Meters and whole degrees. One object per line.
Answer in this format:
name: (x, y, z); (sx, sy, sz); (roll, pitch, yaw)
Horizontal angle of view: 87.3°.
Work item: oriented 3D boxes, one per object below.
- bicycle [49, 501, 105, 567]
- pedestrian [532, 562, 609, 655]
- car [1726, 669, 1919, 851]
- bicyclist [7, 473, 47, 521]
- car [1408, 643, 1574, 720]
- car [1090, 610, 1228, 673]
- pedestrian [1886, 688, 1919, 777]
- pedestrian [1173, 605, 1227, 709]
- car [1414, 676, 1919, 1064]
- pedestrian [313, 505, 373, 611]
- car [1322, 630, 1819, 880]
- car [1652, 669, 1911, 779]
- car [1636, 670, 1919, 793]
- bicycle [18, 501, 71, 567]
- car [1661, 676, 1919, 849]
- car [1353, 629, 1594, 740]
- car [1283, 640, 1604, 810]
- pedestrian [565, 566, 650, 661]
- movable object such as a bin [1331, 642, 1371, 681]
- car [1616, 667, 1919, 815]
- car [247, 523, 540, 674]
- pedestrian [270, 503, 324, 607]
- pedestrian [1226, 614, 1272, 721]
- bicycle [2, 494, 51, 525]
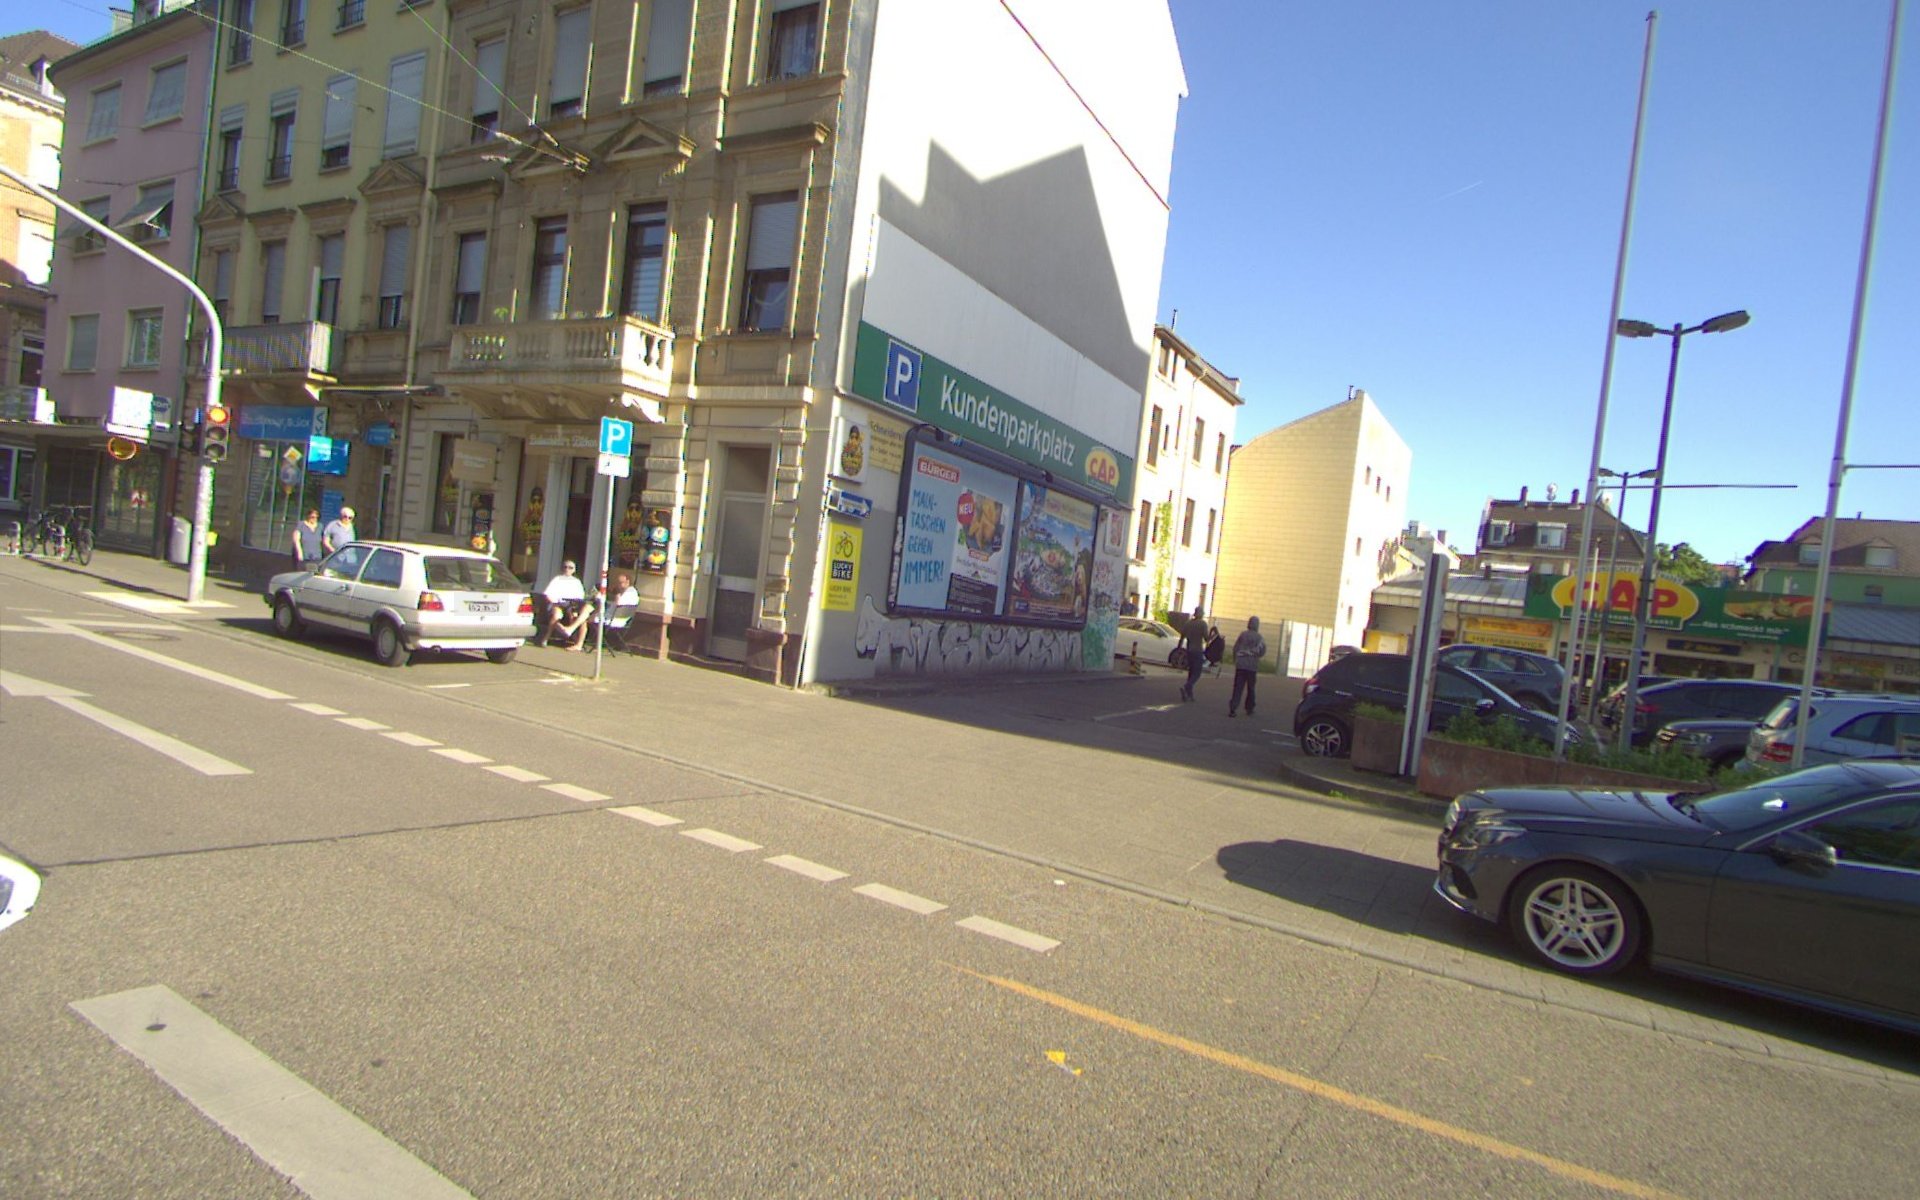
bicycle: (-17.919, -1.352, 20.397); (1.731, 1.173, 0.448); (8, 1, 38)
pedestrian: (-5.833, 0.125, 15.079); (0.598, 1.299, 0.797); (7, 4, 29)
car: (10.797, 1.839, 10.606); (3.930, 1.665, 1.748); (7, 0, 28)
bicyclist: (-32.369, -3.564, 34.898); (0.540, 1.521, 0.957); (7, 1, -17)
car: (15.030, 2.278, 28.547); (3.933, 1.538, 1.723); (7, 1, 32)
car: (6.451, 1.343, 32.721); (3.933, 1.482, 1.756); (7, 1, 32)
pedestrian: (20.510, 2.841, 21.376); (0.908, 1.818, 0.817); (8, 1, 32)
pedestrian: (4.576, 1.066, 19.208); (0.734, 1.864, 0.762); (7, 1, 9)
car: (5.297, 1.559, 5.673); (4.656, 1.507, 1.832); (7, 3, 32)
pedestrian: (-11.068, -0.744, 18.042); (0.522, 1.831, 0.673); (8, 4, 31)
car: (5.882, 1.380, 10.178); (3.835, 1.666, 1.652); (7, 2, 28)
car: (17.156, 2.525, 21.285); (3.872, 1.601, 1.658); (7, 1, 31)
car: (15.243, 2.386, 18.984); (3.872, 1.564, 1.543); (7, 1, 31)
bicycle: (-18.190, -1.329, 19.974); (1.782, 1.155, 0.414); (8, 1, 38)
car: (11.665, 2.137, 12.991); (3.931, 1.715, 1.747); (7, 1, 29)
car: (11.030, 1.762, 21.752); (4.309, 1.687, 1.756); (7, 1, 32)
car: (6.071, 1.492, 12.847); (3.336, 1.504, 1.561); (7, 1, 28)
pedestrian: (-5.203, 0.196, 14.864); (0.644, 1.299, 0.902); (7, 3, 27)
movable object such as a bin: (17.120, 2.679, 44.047); (1.258, 1.526, 1.174); (7, 1, 31)
car: (12.463, 2.099, 15.330); (3.871, 1.563, 1.545); (7, 0, 30)
car: (-7.376, -0.081, 12.998); (3.937, 1.435, 1.562); (7, 4, 32)
pedestrian: (-11.616, -0.783, 17.626); (0.382, 1.729, 0.550); (8, 2, 34)
pedestrian: (5.044, 1.169, 17.610); (0.503, 1.777, 0.762); (7, 1, 12)
bicycle: (-32.423, -3.141, 34.953); (0.644, 0.914, 1.333); (7, 0, -16)
